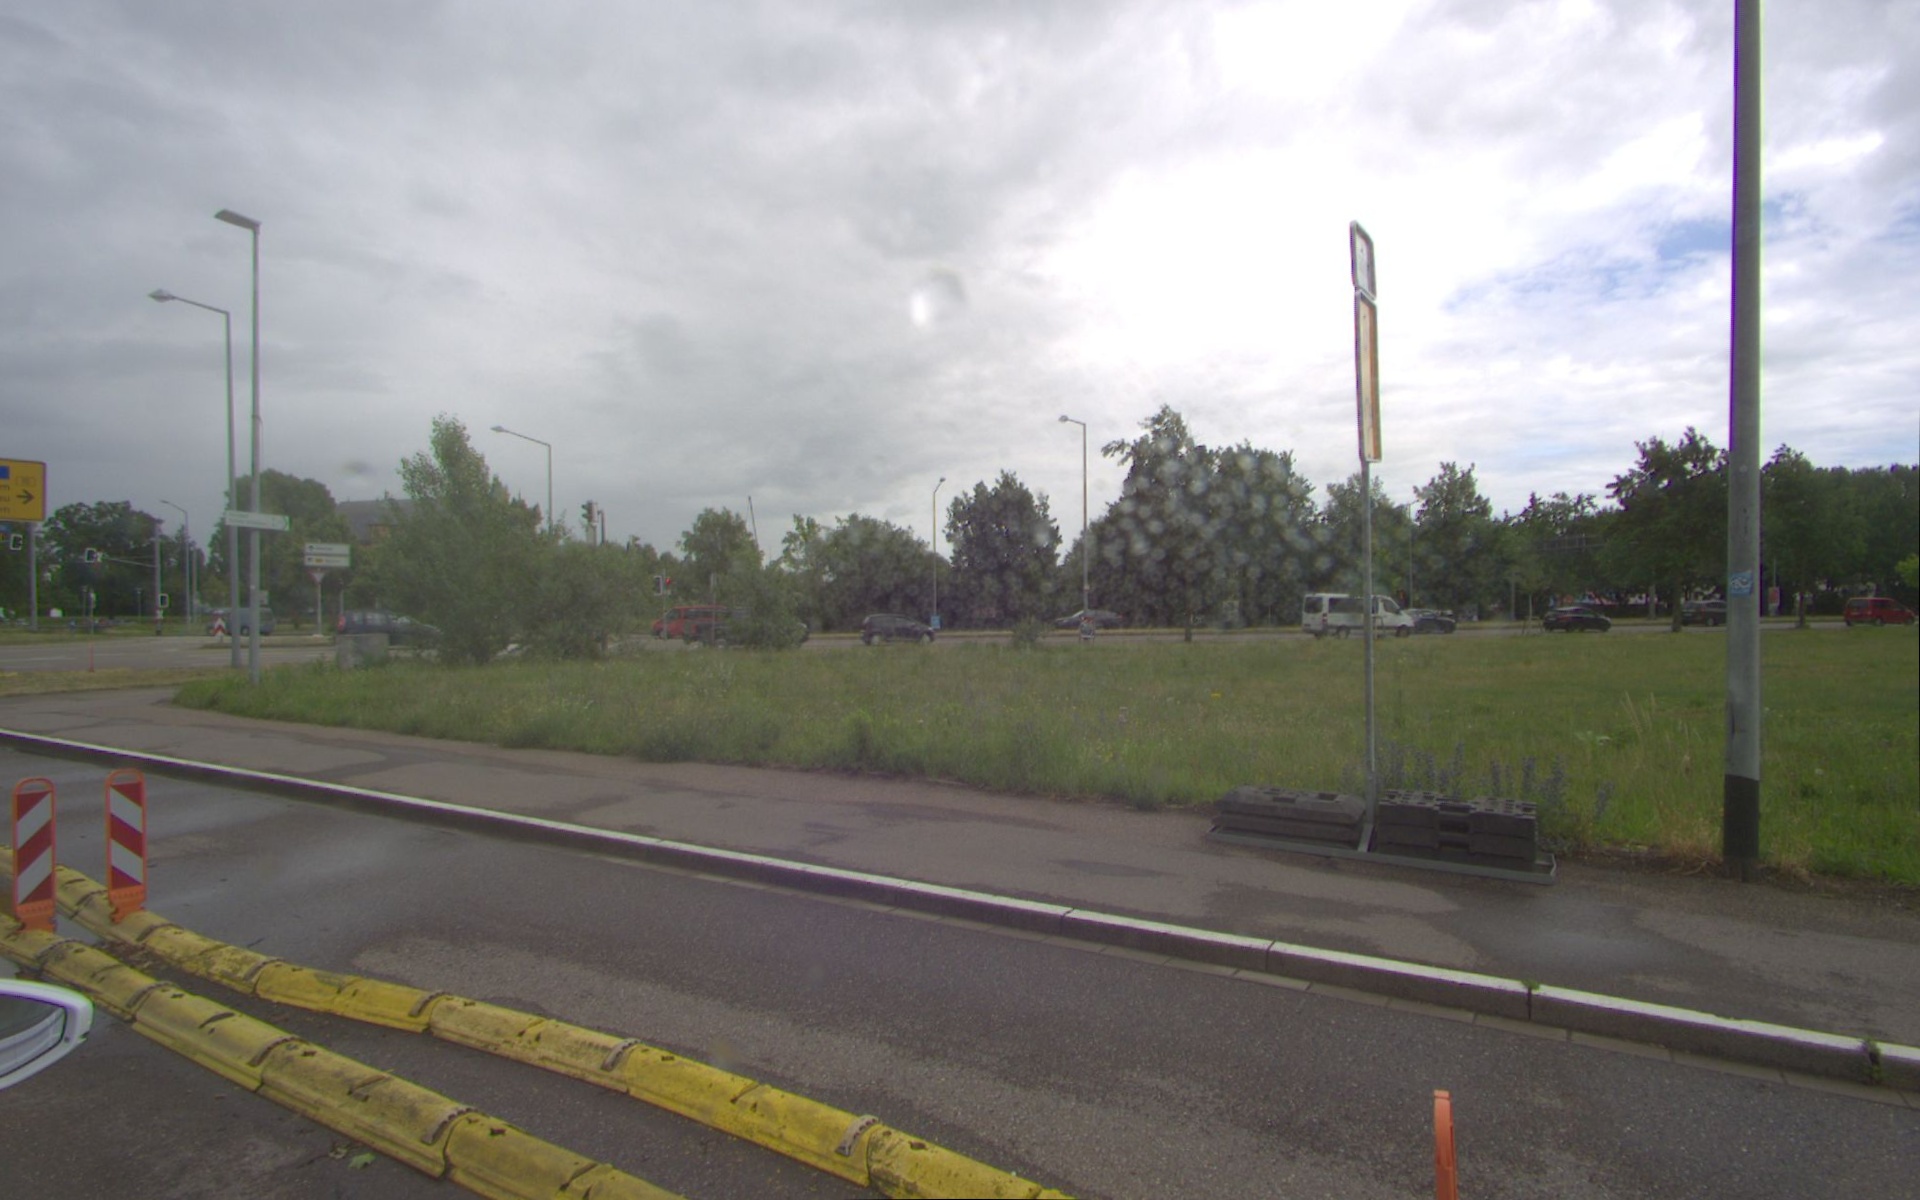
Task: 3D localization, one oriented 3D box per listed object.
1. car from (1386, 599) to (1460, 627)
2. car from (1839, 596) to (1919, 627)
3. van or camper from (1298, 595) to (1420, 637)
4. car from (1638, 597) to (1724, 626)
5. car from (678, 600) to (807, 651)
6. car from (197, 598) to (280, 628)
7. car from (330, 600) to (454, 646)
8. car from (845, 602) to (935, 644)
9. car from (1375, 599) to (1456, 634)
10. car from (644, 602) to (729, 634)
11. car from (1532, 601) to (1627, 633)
[{"bbox_3d":[34.855,0.989,75.466,4.849,2.040,1.998,0,0,-12],"label":"car"},{"bbox_3d":[58.520,0.717,63.710,4.134,1.943,2.111,0,0,-18],"label":"car"},{"bbox_3d":[20.322,0.797,51.066,5.789,2.040,1.996,0,0,-16],"label":"van or camper"},{"bbox_3d":[46.352,0.704,64.403,4.525,1.819,2.112,0,0,-15],"label":"car"},{"bbox_3d":[-9.019,1.015,41.507,4.957,1.998,2.217,0,0,-21],"label":"car"},{"bbox_3d":[-50.326,0.923,69.879,4.391,2.040,2.000,0,0,4],"label":"car"},{"bbox_3d":[-23.520,0.912,41.517,4.162,1.838,2.060,0,0,-40],"label":"car"},{"bbox_3d":[-3.284,1.056,46.830,3.927,1.873,1.997,0,0,-14],"label":"car"},{"bbox_3d":[26.619,0.944,58.532,3.928,2.040,1.997,0,0,-15],"label":"car"},{"bbox_3d":[-16.831,1.108,61.891,4.796,1.943,2.115,0,0,-6],"label":"car"},{"bbox_3d":[36.450,0.976,58.977,4.522,1.819,2.114,0,0,-11],"label":"car"}]
